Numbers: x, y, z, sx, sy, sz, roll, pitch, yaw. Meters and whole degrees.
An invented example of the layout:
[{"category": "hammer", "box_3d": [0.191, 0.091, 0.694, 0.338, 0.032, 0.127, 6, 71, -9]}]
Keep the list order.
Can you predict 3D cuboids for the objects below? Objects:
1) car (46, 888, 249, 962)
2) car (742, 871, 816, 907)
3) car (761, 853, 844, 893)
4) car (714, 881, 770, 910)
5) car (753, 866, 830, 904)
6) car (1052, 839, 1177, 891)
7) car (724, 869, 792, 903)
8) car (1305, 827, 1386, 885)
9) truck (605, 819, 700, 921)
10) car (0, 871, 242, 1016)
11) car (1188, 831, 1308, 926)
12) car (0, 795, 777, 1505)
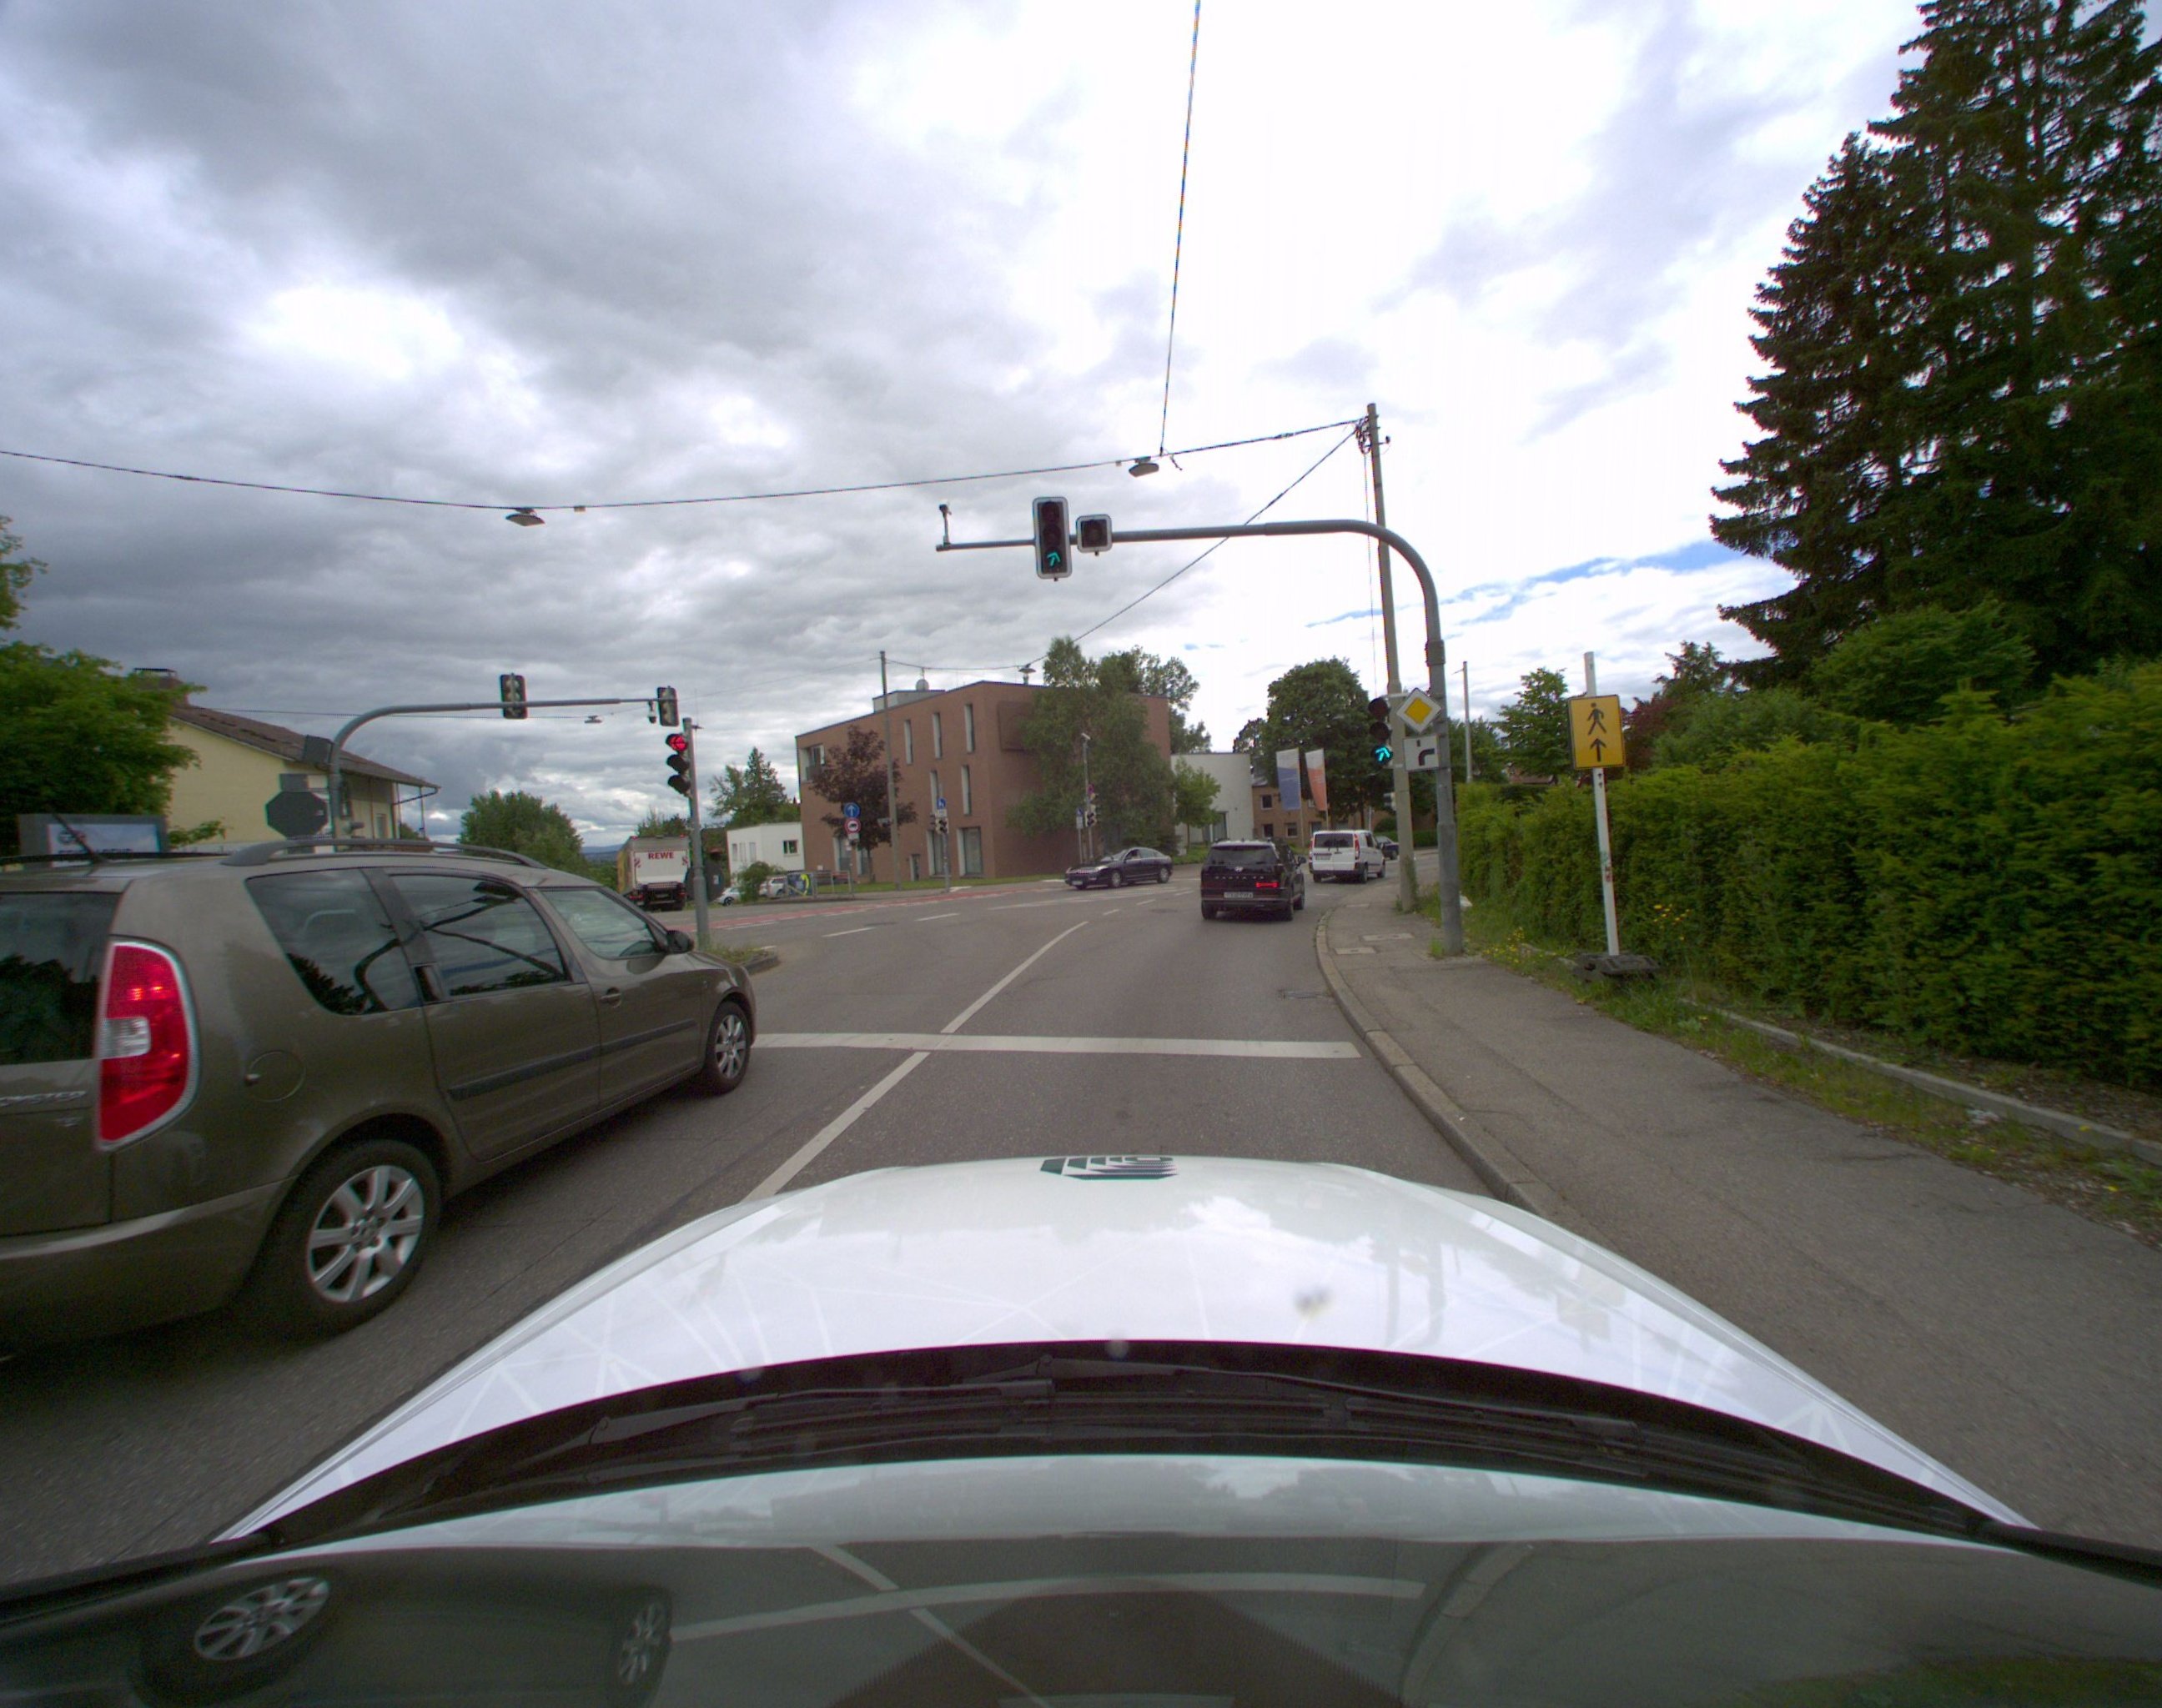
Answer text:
[{"category": "car", "box_3d": [-31.772, 2.364, 27.918, 4.010, 2.013, 1.982, -4, 0, -27]}, {"category": "car", "box_3d": [-19.724, 2.262, 53.225, 4.020, 2.013, 1.977, -3, 0, -38]}, {"category": "car", "box_3d": [-16.191, 1.085, 47.402, 4.019, 2.013, 1.977, -4, 0, -37]}, {"category": "car", "box_3d": [-27.814, 3.387, 66.789, 4.008, 2.013, 1.983, -4, 0, -26]}, {"category": "car", "box_3d": [-18.181, 1.942, 51.189, 4.020, 2.013, 1.977, -4, 0, -38]}, {"category": "car", "box_3d": [1.346, 0.384, 30.540, 1.974, 1.658, 4.815, -3, 0, 43]}, {"category": "car", "box_3d": [-22.763, 2.257, 57.439, 4.020, 2.013, 1.977, -5, 1, -37]}, {"category": "car", "box_3d": [9.926, 0.004, 30.343, 1.943, 2.013, 4.456, 0, 1, 30]}, {"category": "truck", "box_3d": [-23.506, 0.876, 44.257, 3.148, 4.734, 11.670, -4, 1, -33]}, {"category": "car", "box_3d": [-19.014, 1.595, 16.240, 2.299, 2.227, 6.396, -4, 0, -39]}, {"category": "car", "box_3d": [3.871, 0.449, 18.305, 1.976, 1.881, 4.021, 0, 1, 21]}, {"category": "car", "box_3d": [-3.287, 0.763, 3.985, 1.886, 1.706, 4.002, -4, 0, 2]}]
